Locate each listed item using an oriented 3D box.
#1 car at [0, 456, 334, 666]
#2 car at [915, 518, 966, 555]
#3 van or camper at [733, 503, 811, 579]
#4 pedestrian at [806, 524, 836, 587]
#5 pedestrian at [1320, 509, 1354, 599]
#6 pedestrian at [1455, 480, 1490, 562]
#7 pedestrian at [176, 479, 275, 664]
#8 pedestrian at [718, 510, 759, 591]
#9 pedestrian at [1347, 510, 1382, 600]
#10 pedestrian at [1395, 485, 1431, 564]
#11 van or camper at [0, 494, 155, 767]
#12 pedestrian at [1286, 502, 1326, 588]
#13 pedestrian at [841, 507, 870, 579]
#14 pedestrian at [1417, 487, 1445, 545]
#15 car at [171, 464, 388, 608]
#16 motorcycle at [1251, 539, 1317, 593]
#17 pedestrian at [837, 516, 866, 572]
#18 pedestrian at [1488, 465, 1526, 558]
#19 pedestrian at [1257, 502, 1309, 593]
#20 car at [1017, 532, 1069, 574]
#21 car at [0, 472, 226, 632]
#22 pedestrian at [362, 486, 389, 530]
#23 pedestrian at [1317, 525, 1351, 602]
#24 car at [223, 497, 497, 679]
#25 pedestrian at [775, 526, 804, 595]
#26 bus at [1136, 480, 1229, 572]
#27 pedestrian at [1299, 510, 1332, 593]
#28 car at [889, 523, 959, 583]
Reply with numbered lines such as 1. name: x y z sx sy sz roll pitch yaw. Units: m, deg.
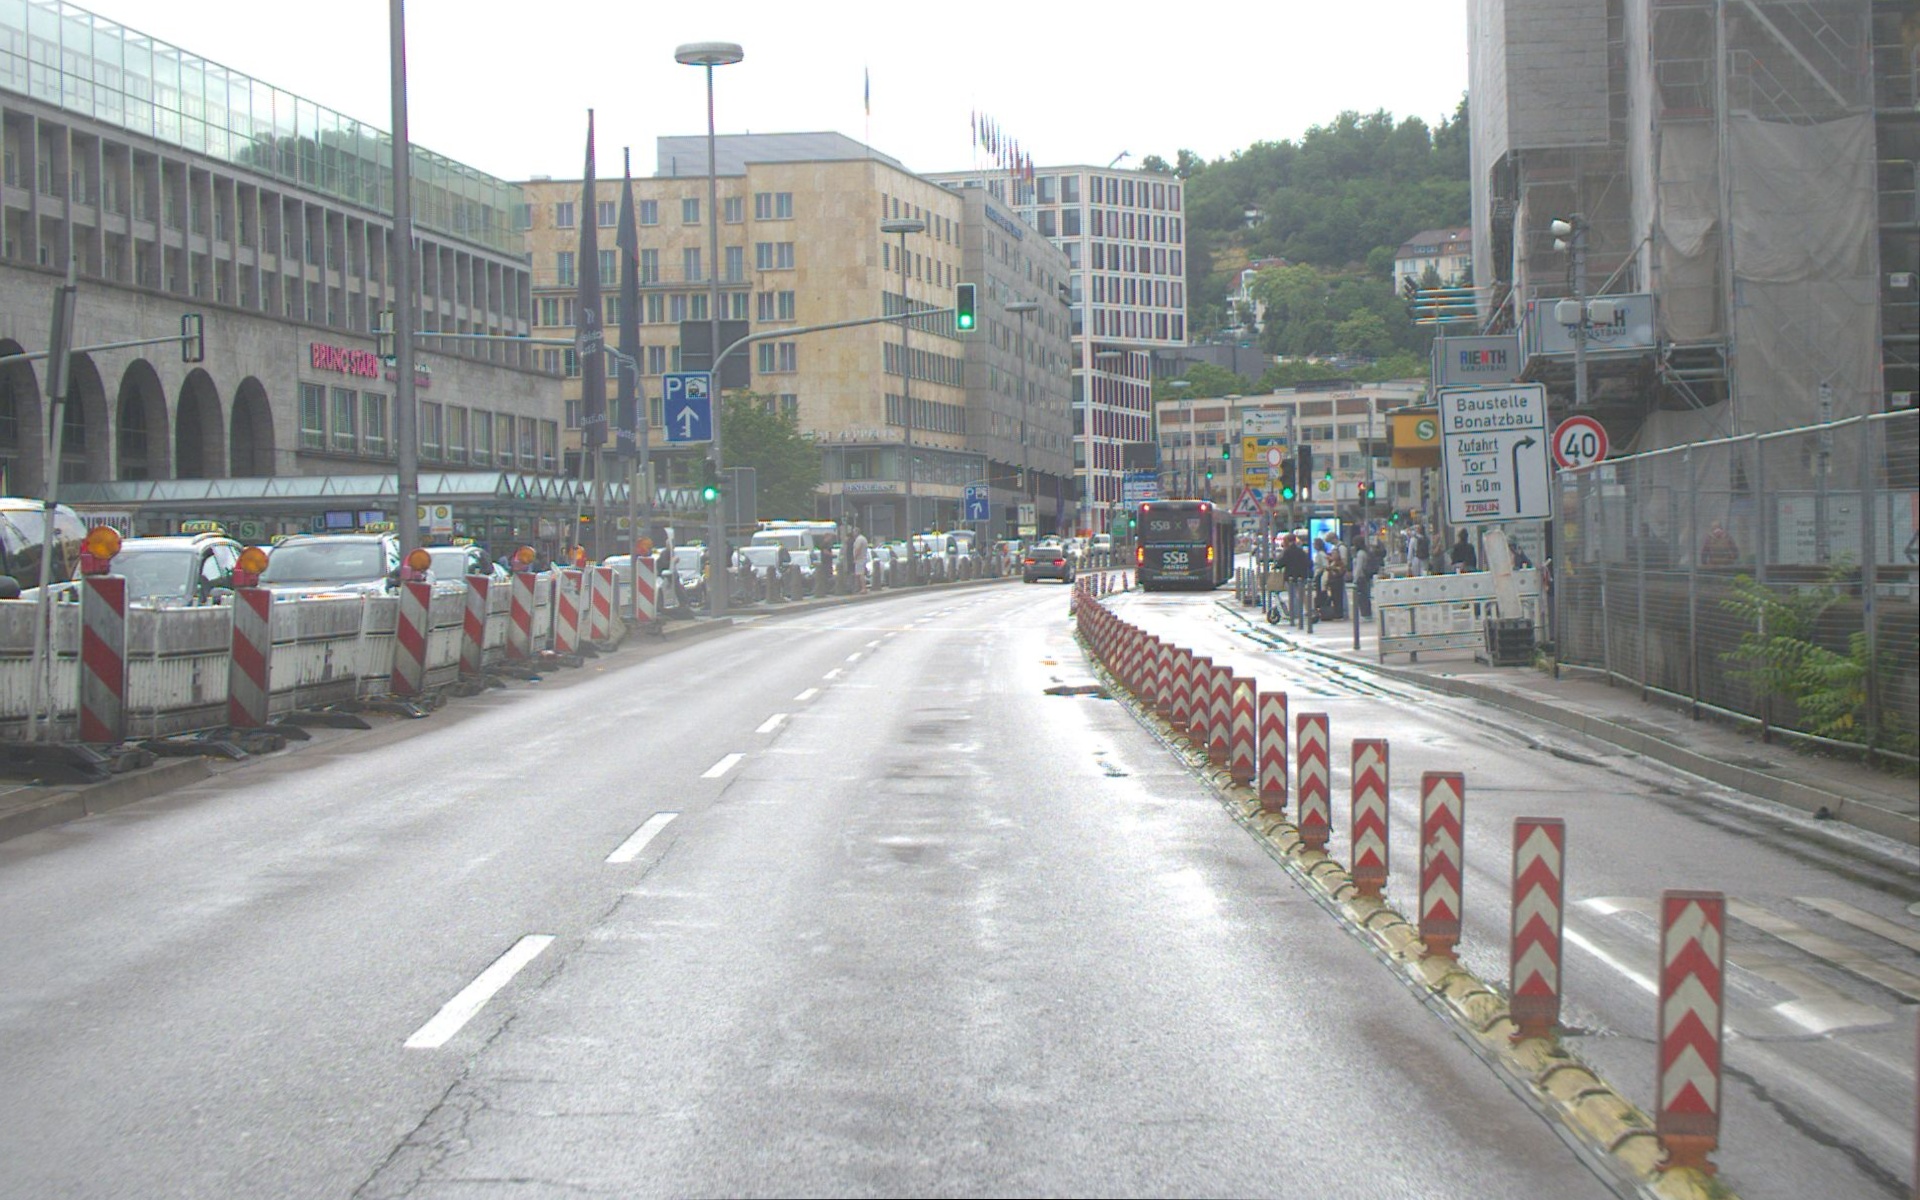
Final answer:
1. car: -7.622 -0.440 33.060 1.994 1.764 4.811 -2 3 3
2. car: -0.868 -2.882 156.047 1.994 1.546 4.000 -2 2 4
3. van or camper: -6.869 -2.196 126.018 1.994 2.505 5.370 -4 2 4
4. pedestrian: -3.935 -1.271 97.474 0.698 1.748 0.711 -1 2 6
5. pedestrian: 7.510 -0.924 68.464 0.558 1.745 0.711 -4 2 7
6. pedestrian: 10.546 -1.624 70.746 0.549 1.626 0.995 -4 2 6
7. pedestrian: -8.107 -0.326 37.990 0.875 2.006 0.822 -1 2 0
8. pedestrian: -5.040 -1.135 78.330 0.781 1.769 0.607 -4 2 -6
9. pedestrian: 7.711 -0.862 65.531 0.558 1.645 0.614 -4 2 7
10. pedestrian: 10.845 -1.816 82.331 0.723 1.841 0.810 -4 2 6
11. van or camper: -7.391 0.182 24.070 1.945 1.813 5.392 0 2 3
12. pedestrian: 7.176 -1.146 71.392 0.558 1.753 0.752 -4 2 -7
13. pedestrian: -2.962 -1.618 97.382 0.723 2.000 0.772 0 2 6
14. pedestrian: 13.005 -2.316 94.913 0.651 1.534 0.665 -4 2 7
15. car: -9.494 -0.941 48.302 1.903 1.891 4.523 0 3 3
16. motorcycle: 6.262 -0.663 66.513 0.584 1.018 1.239 -3 3 -37
17. pedestrian: -3.209 -1.658 101.544 0.723 1.601 0.996 0 3 6
18. pedestrian: 9.965 -1.623 62.587 0.564 1.645 0.614 -4 2 11
19. pedestrian: 6.245 -1.025 66.512 0.580 1.734 0.822 -3 3 -37
20. car: 3.290 -1.879 136.754 1.993 1.546 4.000 -2 2 1
21. car: -10.348 -0.620 41.334 1.784 1.716 4.483 -2 3 4
22. pedestrian: -18.934 -2.986 111.428 0.704 1.388 0.704 -1 3 -23
23. pedestrian: 7.349 -0.723 67.528 0.558 1.444 0.711 -4 2 7
24. car: -6.844 -0.202 39.778 1.994 1.811 4.811 -2 3 4
25. pedestrian: -4.306 -0.997 86.819 0.651 1.705 0.593 0 3 4
26. bus: 7.752 -2.605 118.648 2.756 3.058 9.078 0 2 7
27. pedestrian: 7.264 -0.999 70.217 0.558 1.635 0.752 -4 2 7
28. car: -1.421 -1.903 137.826 1.994 2.171 5.543 -2 2 7
